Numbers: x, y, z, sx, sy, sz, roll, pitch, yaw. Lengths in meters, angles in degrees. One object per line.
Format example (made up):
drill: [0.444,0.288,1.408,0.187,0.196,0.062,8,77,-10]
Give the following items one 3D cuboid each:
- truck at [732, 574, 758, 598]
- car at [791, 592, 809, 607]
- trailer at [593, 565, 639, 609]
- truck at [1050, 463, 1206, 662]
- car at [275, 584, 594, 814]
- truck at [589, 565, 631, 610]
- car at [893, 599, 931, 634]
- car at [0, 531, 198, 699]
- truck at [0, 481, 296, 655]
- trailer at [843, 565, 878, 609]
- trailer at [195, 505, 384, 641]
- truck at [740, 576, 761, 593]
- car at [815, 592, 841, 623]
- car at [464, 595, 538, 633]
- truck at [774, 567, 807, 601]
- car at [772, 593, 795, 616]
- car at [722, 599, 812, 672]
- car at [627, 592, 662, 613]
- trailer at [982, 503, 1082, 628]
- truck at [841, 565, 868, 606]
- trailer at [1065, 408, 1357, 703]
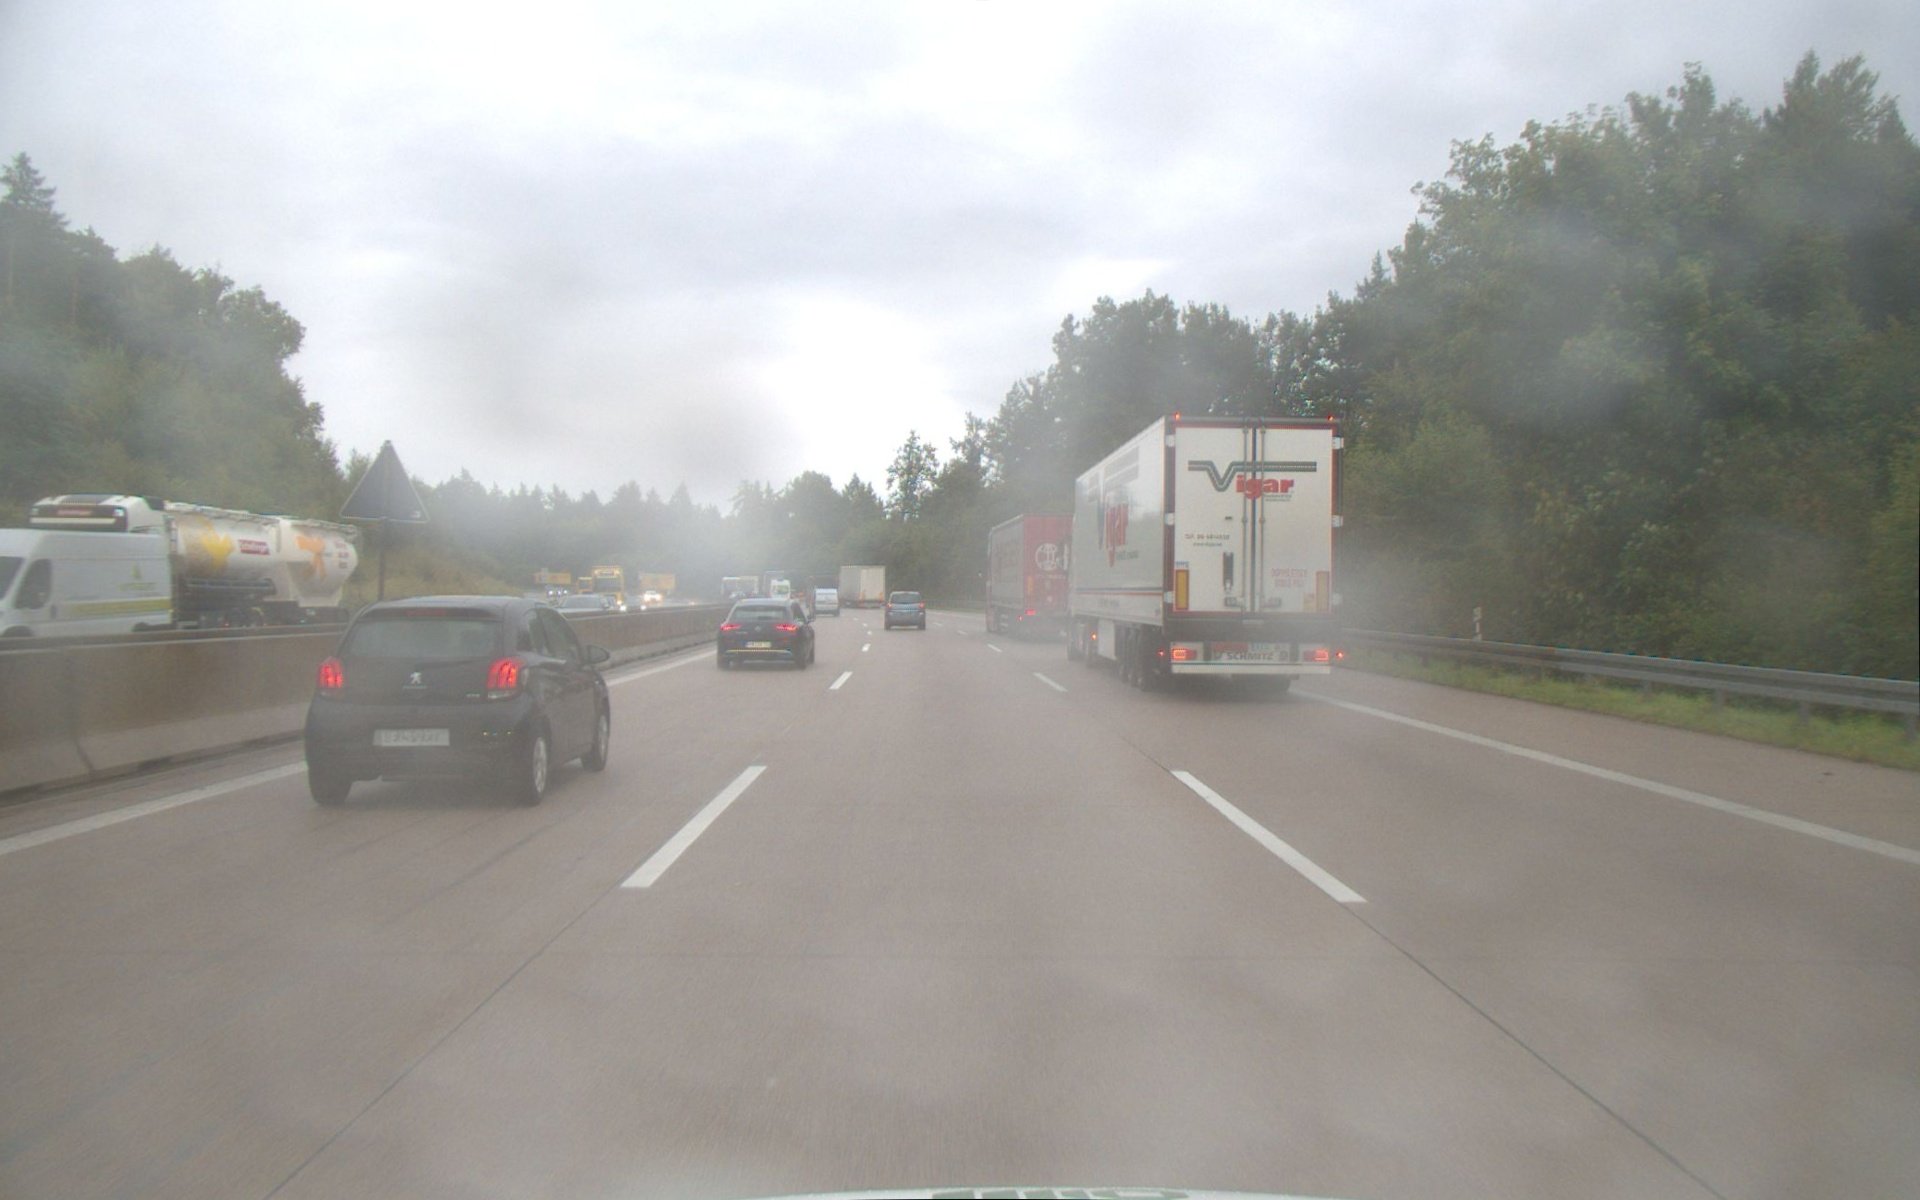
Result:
truck: [-28.658,-1.878,221.015,3.022,2.956,7.896,1,1,-5]
car: [-17.572,-0.053,181.444,1.845,1.499,3.997,2,0,-4]
trailer: [-32.255,-1.185,155.457,2.957,3.942,13.680,0,0,-7]
truck: [3.699,-0.806,37.858,2.742,4.175,5.965,0,0,-2]
car: [-3.894,0.651,12.838,1.652,1.488,3.678,2,0,-7]
truck: [-31.477,-1.104,148.860,2.968,3.942,8.105,0,0,-7]
car: [-2.071,0.696,71.285,1.523,1.375,3.681,2,0,-3]
car: [-15.215,0.199,27.644,1.953,2.492,6.744,0,0,-1]
truck: [-19.623,-0.716,40.814,2.512,3.731,10.488,0,0,-2]
trailer: [-9.748,-1.325,161.654,2.375,4.139,12.032,0,1,-8]
trailer: [-19.875,-0.761,49.612,2.494,3.731,8.227,0,0,-2]
truck: [-30.824,-2.272,243.500,2.918,2.350,6.657,2,0,-7]
car: [-8.956,0.462,112.092,1.692,2.049,3.652,-1,0,-6]
car: [-17.615,0.497,63.690,1.625,1.395,4.719,1,0,-2]
truck: [-21.844,-2.104,212.716,3.309,4.203,10.409,0,1,-11]
car: [-16.810,0.388,157.664,1.957,2.095,3.992,-1,0,-9]
car: [-4.012,0.708,34.800,1.522,1.375,3.682,2,0,-2]
car: [-21.402,0.158,112.207,1.766,1.357,4.561,1,0,-4]
trailer: [2.434,-1.172,60.045,2.323,4.023,12.512,1,0,-3]
truck: [-10.749,-1.512,168.670,2.374,4.139,4.970,0,1,-8]
trailer: [4.000,-0.680,30.314,2.679,4.175,13.675,0,0,-3]
